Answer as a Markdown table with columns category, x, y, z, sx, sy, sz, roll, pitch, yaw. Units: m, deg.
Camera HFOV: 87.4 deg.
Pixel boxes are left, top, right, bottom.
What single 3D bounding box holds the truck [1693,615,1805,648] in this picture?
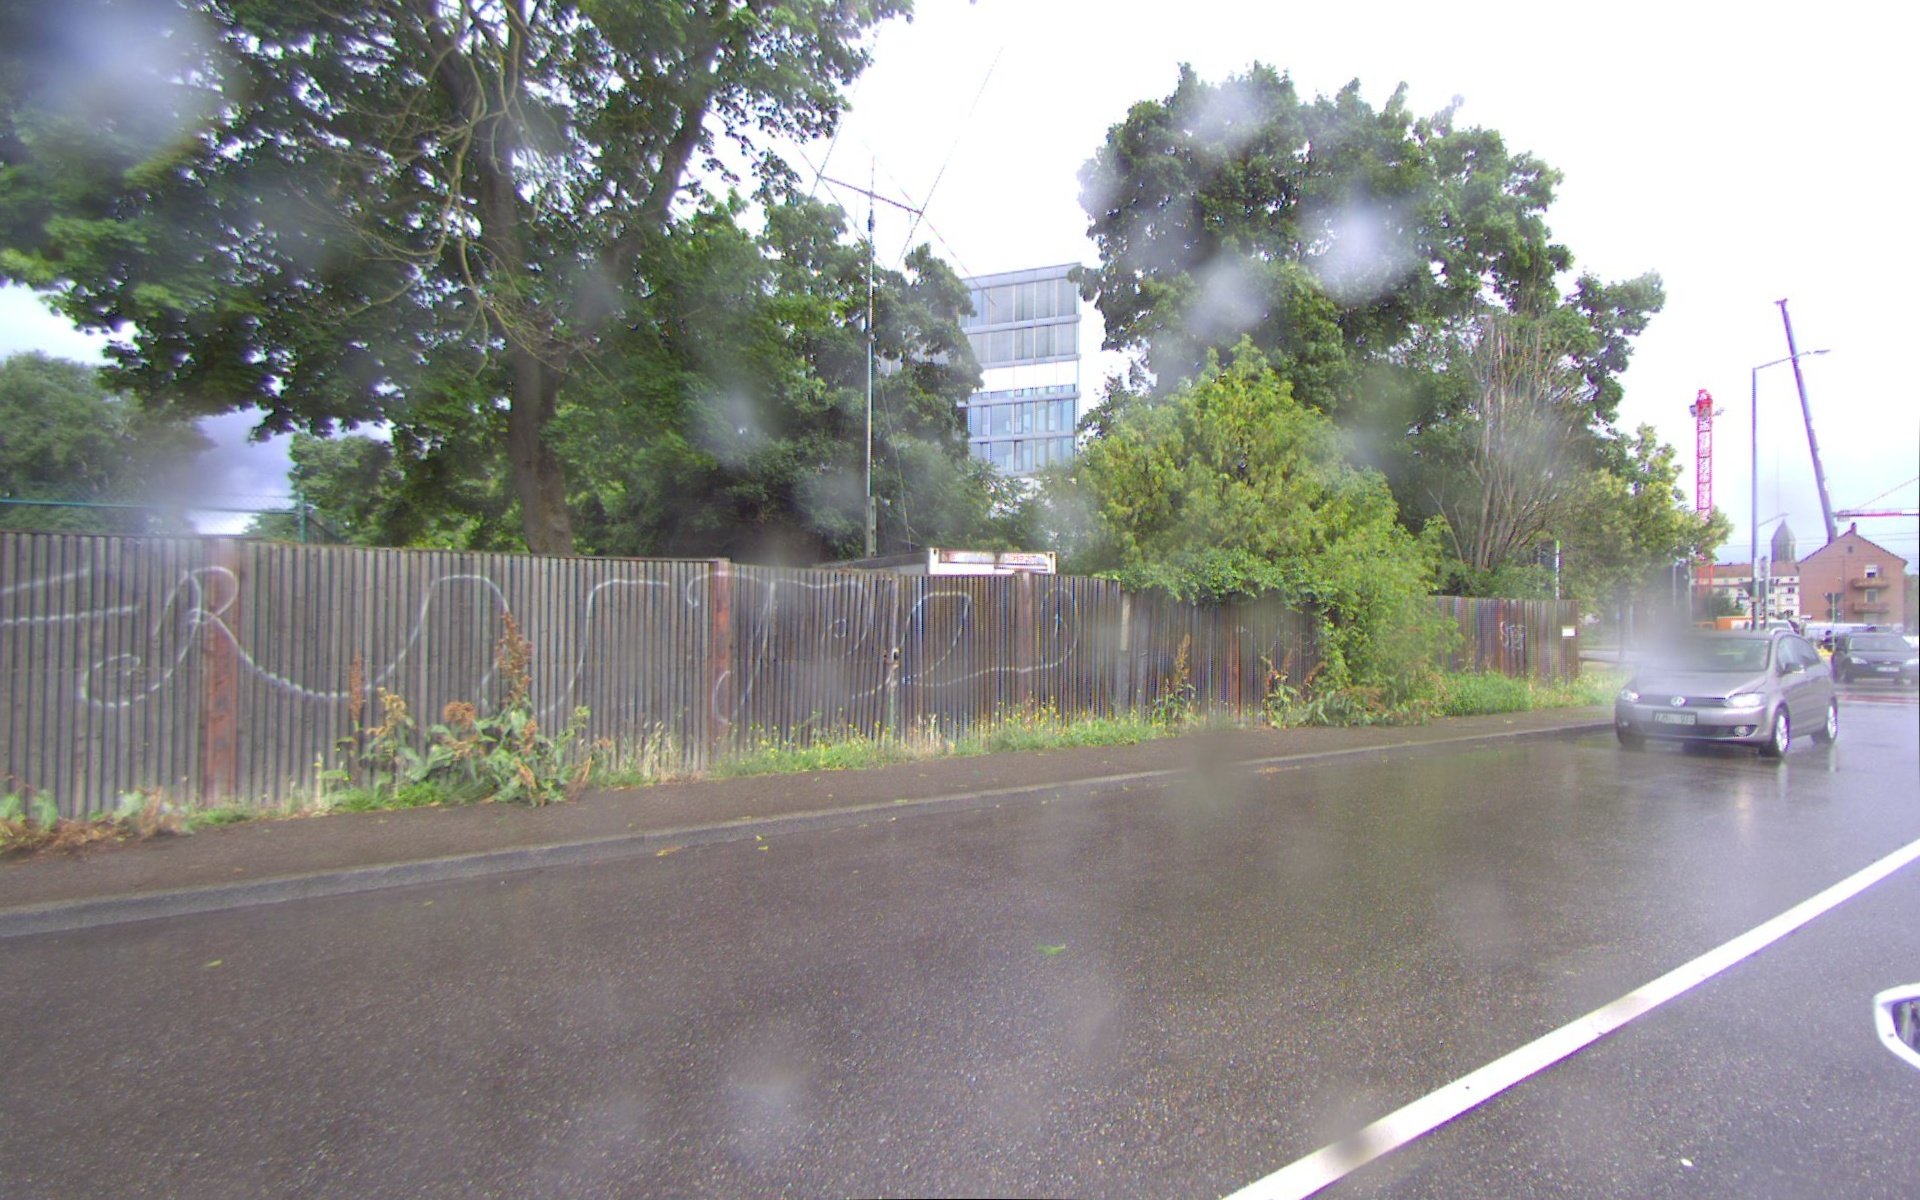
| category | x | y | z | sx | sy | sz | roll | pitch | yaw |
| --- | --- | --- | --- | --- | --- | --- | --- | --- | --- |
| truck | 60.106 | 2.374 | 76.703 | 6.621 | 2.475 | 2.423 | -1 | -2 | 39 |

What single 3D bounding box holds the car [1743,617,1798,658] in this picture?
| category | x | y | z | sx | sy | sz | roll | pitch | yaw |
| --- | --- | --- | --- | --- | --- | --- | --- | --- | --- |
| car | 39.724 | 1.790 | 49.163 | 1.867 | 1.901 | 5.105 | -1 | -2 | 42 |

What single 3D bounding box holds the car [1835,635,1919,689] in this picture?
| category | x | y | z | sx | sy | sz | roll | pitch | yaw |
| --- | --- | --- | --- | --- | --- | --- | --- | --- | --- |
| car | 28.328 | 1.873 | 30.972 | 1.855 | 1.502 | 4.153 | -1 | -3 | 44 |

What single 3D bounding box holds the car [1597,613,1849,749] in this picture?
| category | x | y | z | sx | sy | sz | roll | pitch | yaw |
| --- | --- | --- | --- | --- | --- | --- | --- | --- | --- |
| car | 10.575 | 1.043 | 13.801 | 4.389 | 1.572 | 1.767 | 2 | -4 | -40 |
